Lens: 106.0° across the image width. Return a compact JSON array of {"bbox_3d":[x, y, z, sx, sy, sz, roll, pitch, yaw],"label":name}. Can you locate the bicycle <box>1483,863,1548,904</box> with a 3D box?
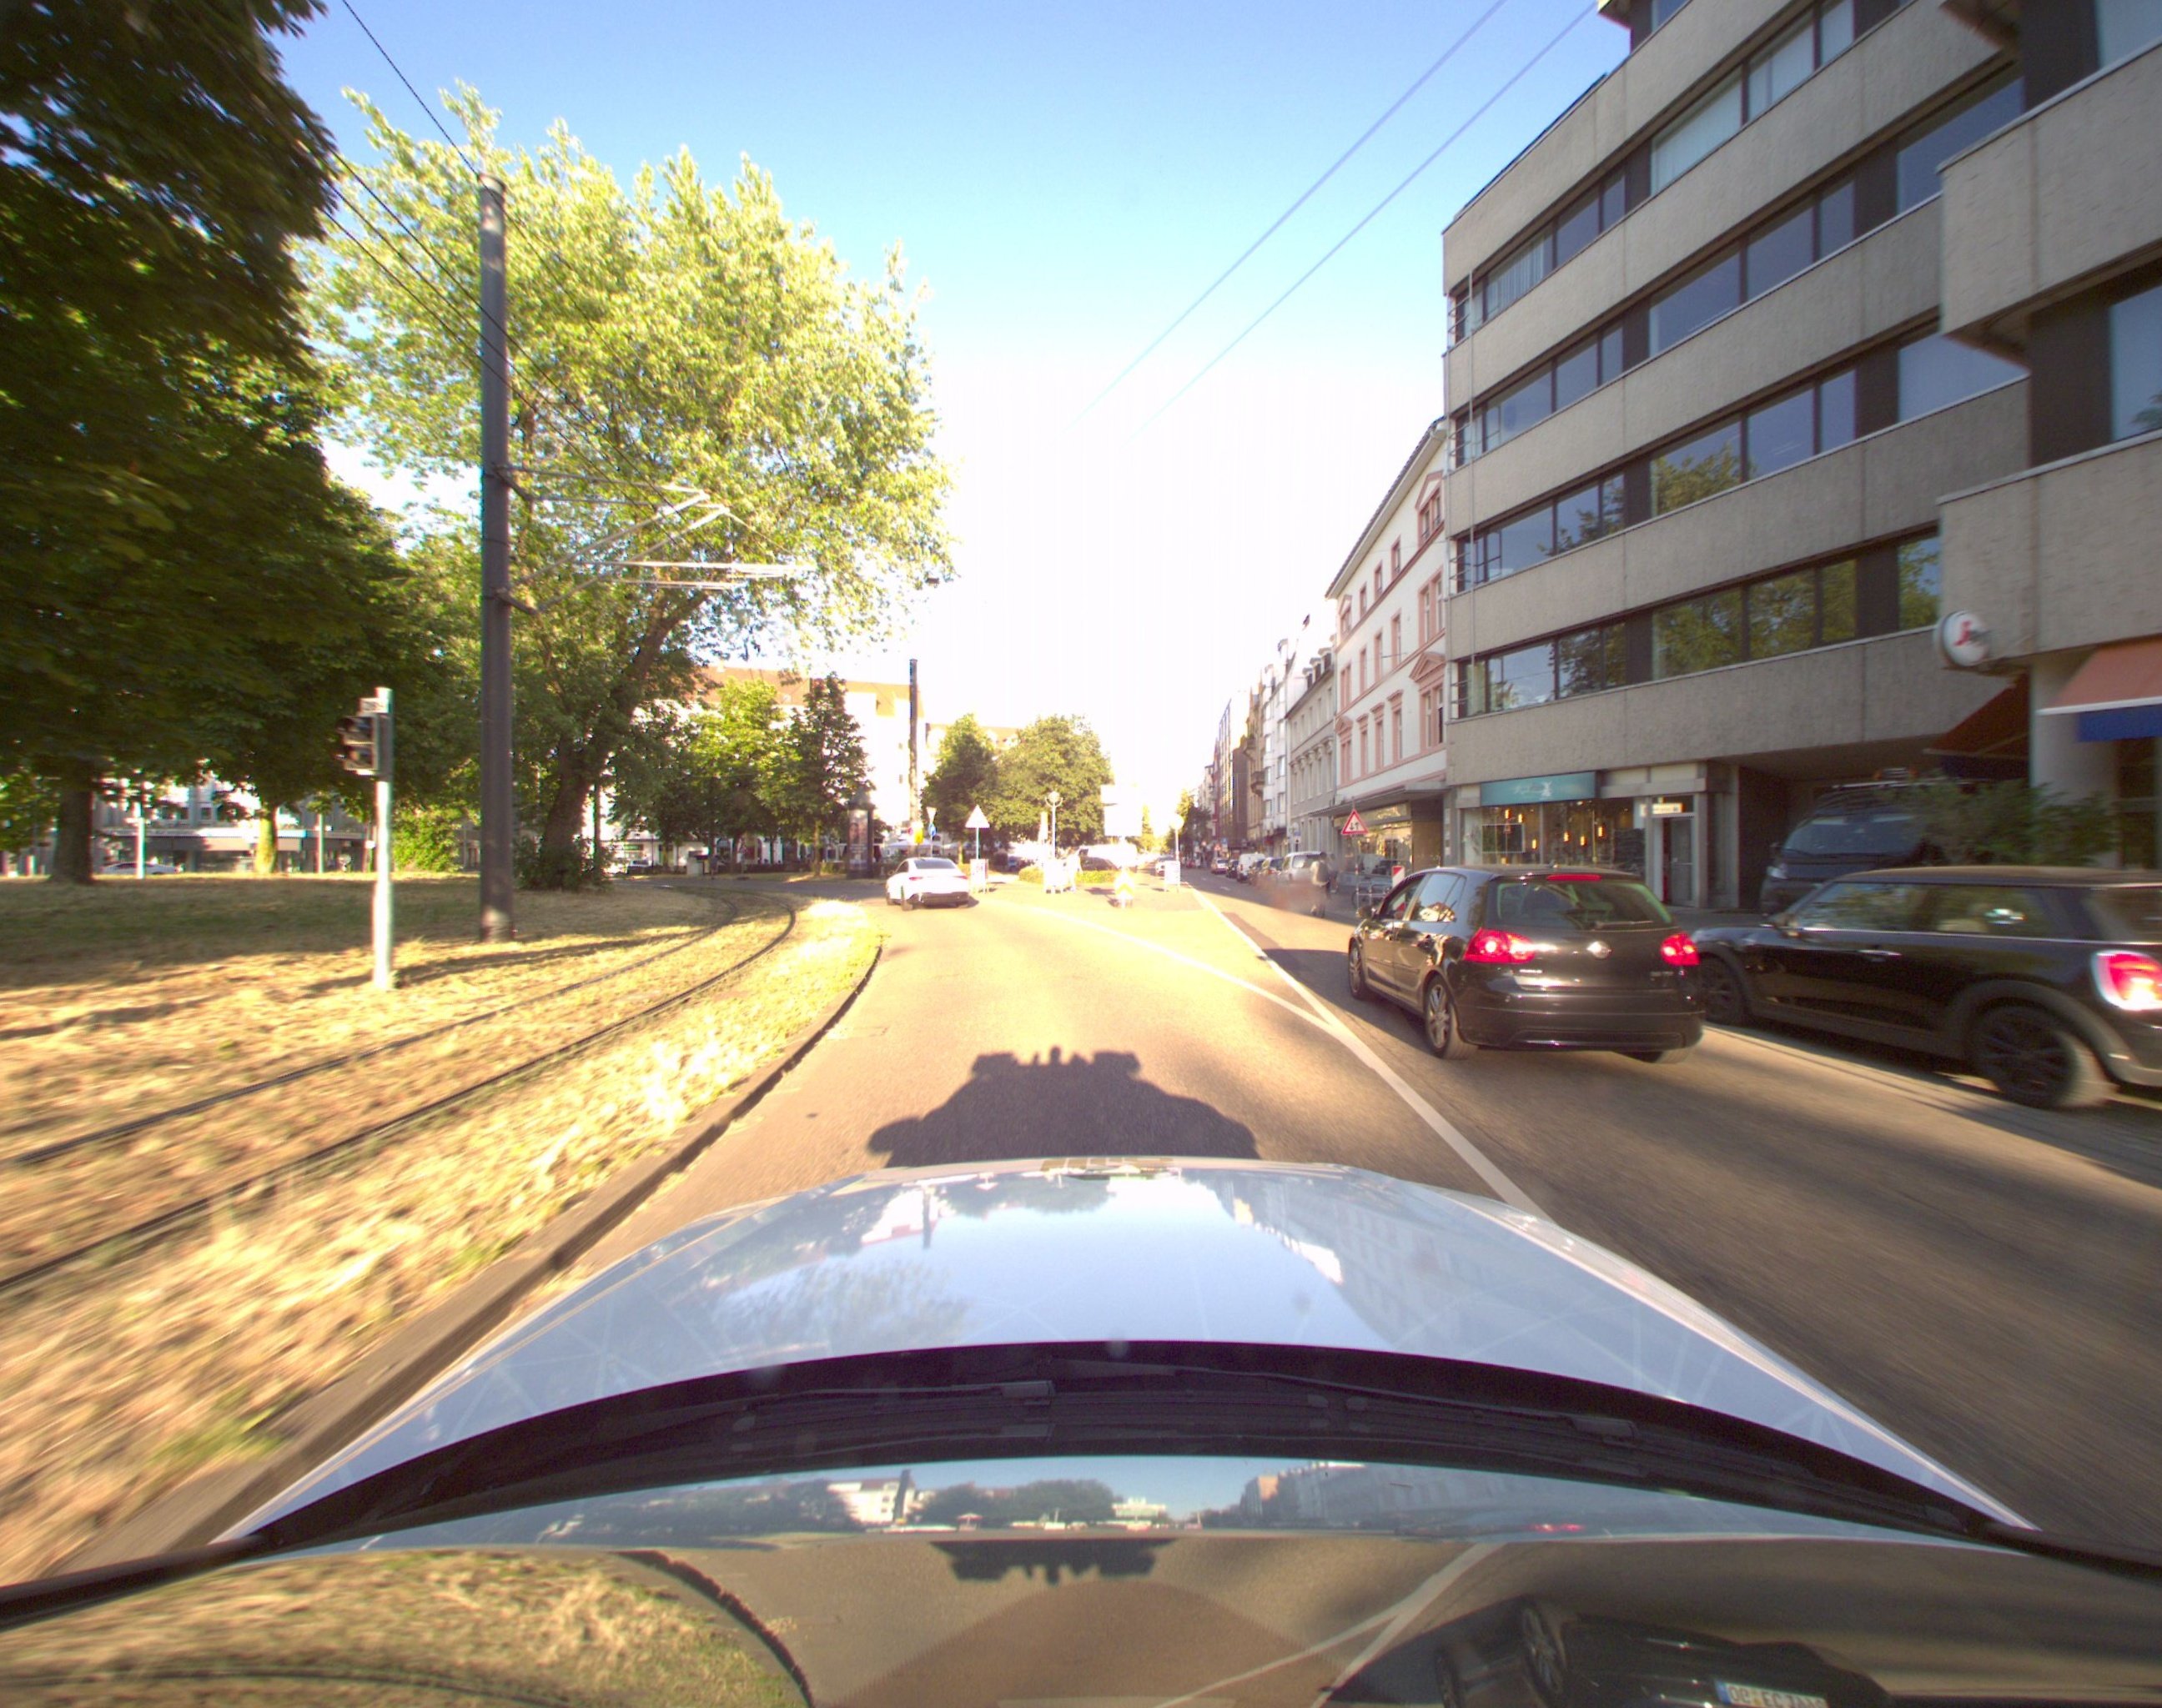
[{"bbox_3d":[12.316,0.851,23.123,0.518,1.119,1.506,-3,-1,-39],"label":"bicycle"}]

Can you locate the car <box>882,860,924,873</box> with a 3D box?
[{"bbox_3d":[-18.011,1.267,82.545,3.998,1.301,1.841,1,-1,-18],"label":"car"}]

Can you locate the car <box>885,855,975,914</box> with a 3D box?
[{"bbox_3d":[-4.505,0.803,23.831,1.872,1.441,4.168,-2,1,-21],"label":"car"}]

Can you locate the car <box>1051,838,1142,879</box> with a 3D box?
[{"bbox_3d":[0.992,0.315,52.798,5.532,2.595,2.139,1,-1,-22],"label":"car"}]

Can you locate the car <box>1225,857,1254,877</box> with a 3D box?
[{"bbox_3d":[12.631,1.007,65.125,1.744,1.511,3.979,-1,-1,4],"label":"car"}]

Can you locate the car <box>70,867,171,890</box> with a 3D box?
[{"bbox_3d":[-63.179,1.571,53.671,1.576,1.463,3.968,0,-1,13],"label":"car"}]

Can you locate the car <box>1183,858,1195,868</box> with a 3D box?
[{"bbox_3d":[18.075,1.502,136.497,1.744,1.511,3.549,-1,-1,4],"label":"car"}]

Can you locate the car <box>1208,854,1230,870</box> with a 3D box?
[{"bbox_3d":[13.319,0.778,78.586,1.744,1.511,3.549,-1,-1,4],"label":"car"}]

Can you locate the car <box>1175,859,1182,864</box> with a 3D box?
[{"bbox_3d":[27.614,2.185,230.782,1.744,1.511,3.549,-1,-1,4],"label":"car"}]

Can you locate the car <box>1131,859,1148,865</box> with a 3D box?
[{"bbox_3d":[13.013,1.868,181.241,3.378,1.287,1.667,1,0,-11],"label":"car"}]

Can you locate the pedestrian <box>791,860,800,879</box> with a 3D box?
[{"bbox_3d":[-22.802,1.228,65.107,0.533,1.498,0.658,1,-1,-7],"label":"pedestrian"}]

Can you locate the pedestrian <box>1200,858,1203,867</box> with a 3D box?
[{"bbox_3d":[23.627,1.656,159.456,0.528,1.923,0.542,0,-1,3],"label":"pedestrian"}]

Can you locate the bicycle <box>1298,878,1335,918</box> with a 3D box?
[{"bbox_3d":[6.232,1.142,21.607,0.576,0.987,1.938,1,-1,5],"label":"bicycle"}]

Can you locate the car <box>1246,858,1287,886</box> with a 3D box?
[{"bbox_3d":[10.425,1.001,45.953,1.726,1.462,3.590,-1,-1,5],"label":"car"}]

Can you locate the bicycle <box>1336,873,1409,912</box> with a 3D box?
[{"bbox_3d":[8.243,1.082,23.053,1.828,1.045,0.584,-2,0,35],"label":"bicycle"}]

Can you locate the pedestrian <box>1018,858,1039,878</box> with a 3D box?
[{"bbox_3d":[-3.454,0.918,53.499,1.101,1.226,0.854,1,-1,-21],"label":"pedestrian"}]

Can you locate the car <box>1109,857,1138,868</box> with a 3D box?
[{"bbox_3d":[5.298,1.053,102.660,3.378,1.287,1.667,1,0,-11],"label":"car"}]

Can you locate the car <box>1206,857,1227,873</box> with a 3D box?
[{"bbox_3d":[13.685,1.125,82.503,1.744,1.511,3.549,-1,-1,4],"label":"car"}]

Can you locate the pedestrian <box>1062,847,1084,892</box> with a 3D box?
[{"bbox_3d":[-0.314,0.605,32.097,0.857,1.706,0.941,1,-1,-1],"label":"pedestrian"}]

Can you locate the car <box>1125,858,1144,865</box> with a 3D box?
[{"bbox_3d":[10.450,1.531,159.173,3.378,1.287,1.667,1,0,-11],"label":"car"}]

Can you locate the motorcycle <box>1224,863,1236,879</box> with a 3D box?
[{"bbox_3d":[11.266,1.275,61.579,0.485,1.174,1.606,-2,0,-2],"label":"motorcycle"}]

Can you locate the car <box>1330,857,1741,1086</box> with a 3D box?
[{"bbox_3d":[3.585,0.772,7.376,1.739,1.461,4.109,1,0,5],"label":"car"}]

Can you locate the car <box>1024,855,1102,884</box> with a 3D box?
[{"bbox_3d":[-1.001,0.883,45.853,4.010,1.552,1.862,1,-1,-28],"label":"car"}]

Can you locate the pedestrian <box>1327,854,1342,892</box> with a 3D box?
[{"bbox_3d":[10.896,0.807,35.036,0.499,1.625,0.497,1,-1,5],"label":"pedestrian"}]

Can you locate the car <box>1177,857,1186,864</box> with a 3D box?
[{"bbox_3d":[23.348,1.595,188.810,1.744,1.511,3.549,-1,-1,4],"label":"car"}]

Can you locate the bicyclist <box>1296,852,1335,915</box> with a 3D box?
[{"bbox_3d":[6.215,0.761,21.606,0.773,1.618,1.026,1,-1,4],"label":"bicyclist"}]

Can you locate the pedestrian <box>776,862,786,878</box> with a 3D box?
[{"bbox_3d":[-25.134,1.314,68.257,0.666,1.352,0.658,1,-1,-7],"label":"pedestrian"}]

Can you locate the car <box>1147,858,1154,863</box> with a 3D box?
[{"bbox_3d":[18.901,1.820,220.485,1.658,1.287,3.395,1,0,6],"label":"car"}]

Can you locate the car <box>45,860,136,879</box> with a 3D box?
[{"bbox_3d":[-76.827,1.205,63.240,3.998,1.464,1.988,1,-1,-19],"label":"car"}]

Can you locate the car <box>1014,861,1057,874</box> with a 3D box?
[{"bbox_3d":[-4.646,1.423,83.266,3.998,1.301,1.841,1,-1,-18],"label":"car"}]

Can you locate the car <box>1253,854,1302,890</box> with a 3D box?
[{"bbox_3d":[9.608,0.854,40.027,1.726,1.617,3.922,-1,-1,5],"label":"car"}]

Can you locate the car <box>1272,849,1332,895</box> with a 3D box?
[{"bbox_3d":[9.295,0.744,34.526,1.726,1.800,3.922,-1,-1,5],"label":"car"}]

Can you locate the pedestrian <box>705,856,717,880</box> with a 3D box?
[{"bbox_3d":[-24.512,0.943,53.937,0.587,1.566,0.565,0,-1,44],"label":"pedestrian"}]

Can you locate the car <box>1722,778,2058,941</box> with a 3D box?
[{"bbox_3d":[14.003,0.048,14.109,5.335,2.442,2.077,-1,-1,-21],"label":"car"}]

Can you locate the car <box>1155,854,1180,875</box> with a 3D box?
[{"bbox_3d":[7.472,0.879,70.582,1.984,1.772,4.005,0,0,4],"label":"car"}]

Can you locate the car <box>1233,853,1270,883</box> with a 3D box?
[{"bbox_3d":[10.940,0.902,52.446,1.915,1.841,4.024,-1,-1,6],"label":"car"}]

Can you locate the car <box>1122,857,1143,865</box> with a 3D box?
[{"bbox_3d":[8.969,1.234,142.699,3.378,1.287,1.667,1,0,-11],"label":"car"}]

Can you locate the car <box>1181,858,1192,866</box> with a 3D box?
[{"bbox_3d":[20.427,1.509,157.979,1.744,1.511,3.549,-1,-1,4],"label":"car"}]

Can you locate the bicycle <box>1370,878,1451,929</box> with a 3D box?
[{"bbox_3d":[7.668,1.139,18.983,1.586,1.119,0.616,-2,0,38],"label":"bicycle"}]

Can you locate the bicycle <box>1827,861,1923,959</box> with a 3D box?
[{"bbox_3d":[10.440,0.693,10.688,1.823,1.119,0.529,-2,0,-35],"label":"bicycle"}]

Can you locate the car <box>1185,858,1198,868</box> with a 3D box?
[{"bbox_3d":[17.035,1.403,125.478,1.744,1.511,3.549,-1,-1,4],"label":"car"}]

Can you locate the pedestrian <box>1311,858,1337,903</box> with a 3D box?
[{"bbox_3d":[8.526,0.910,28.591,0.630,1.555,0.736,1,-1,-9],"label":"pedestrian"}]

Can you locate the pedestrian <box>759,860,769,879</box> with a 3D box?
[{"bbox_3d":[-25.304,1.222,65.052,0.533,1.498,0.658,1,-1,-7],"label":"pedestrian"}]

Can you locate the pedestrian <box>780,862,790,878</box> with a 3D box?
[{"bbox_3d":[-25.139,1.321,69.257,0.666,1.352,0.658,1,-1,-7],"label":"pedestrian"}]

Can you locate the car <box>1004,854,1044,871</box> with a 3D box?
[{"bbox_3d":[-6.198,0.938,88.166,3.998,1.782,1.841,1,-1,-18],"label":"car"}]

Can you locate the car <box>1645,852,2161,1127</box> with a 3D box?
[{"bbox_3d":[6.519,0.749,6.348,1.656,1.441,3.825,-2,-1,2],"label":"car"}]

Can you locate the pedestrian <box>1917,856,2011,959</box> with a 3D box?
[{"bbox_3d":[11.544,0.684,10.659,0.554,1.281,0.648,-1,-1,-23],"label":"pedestrian"}]
